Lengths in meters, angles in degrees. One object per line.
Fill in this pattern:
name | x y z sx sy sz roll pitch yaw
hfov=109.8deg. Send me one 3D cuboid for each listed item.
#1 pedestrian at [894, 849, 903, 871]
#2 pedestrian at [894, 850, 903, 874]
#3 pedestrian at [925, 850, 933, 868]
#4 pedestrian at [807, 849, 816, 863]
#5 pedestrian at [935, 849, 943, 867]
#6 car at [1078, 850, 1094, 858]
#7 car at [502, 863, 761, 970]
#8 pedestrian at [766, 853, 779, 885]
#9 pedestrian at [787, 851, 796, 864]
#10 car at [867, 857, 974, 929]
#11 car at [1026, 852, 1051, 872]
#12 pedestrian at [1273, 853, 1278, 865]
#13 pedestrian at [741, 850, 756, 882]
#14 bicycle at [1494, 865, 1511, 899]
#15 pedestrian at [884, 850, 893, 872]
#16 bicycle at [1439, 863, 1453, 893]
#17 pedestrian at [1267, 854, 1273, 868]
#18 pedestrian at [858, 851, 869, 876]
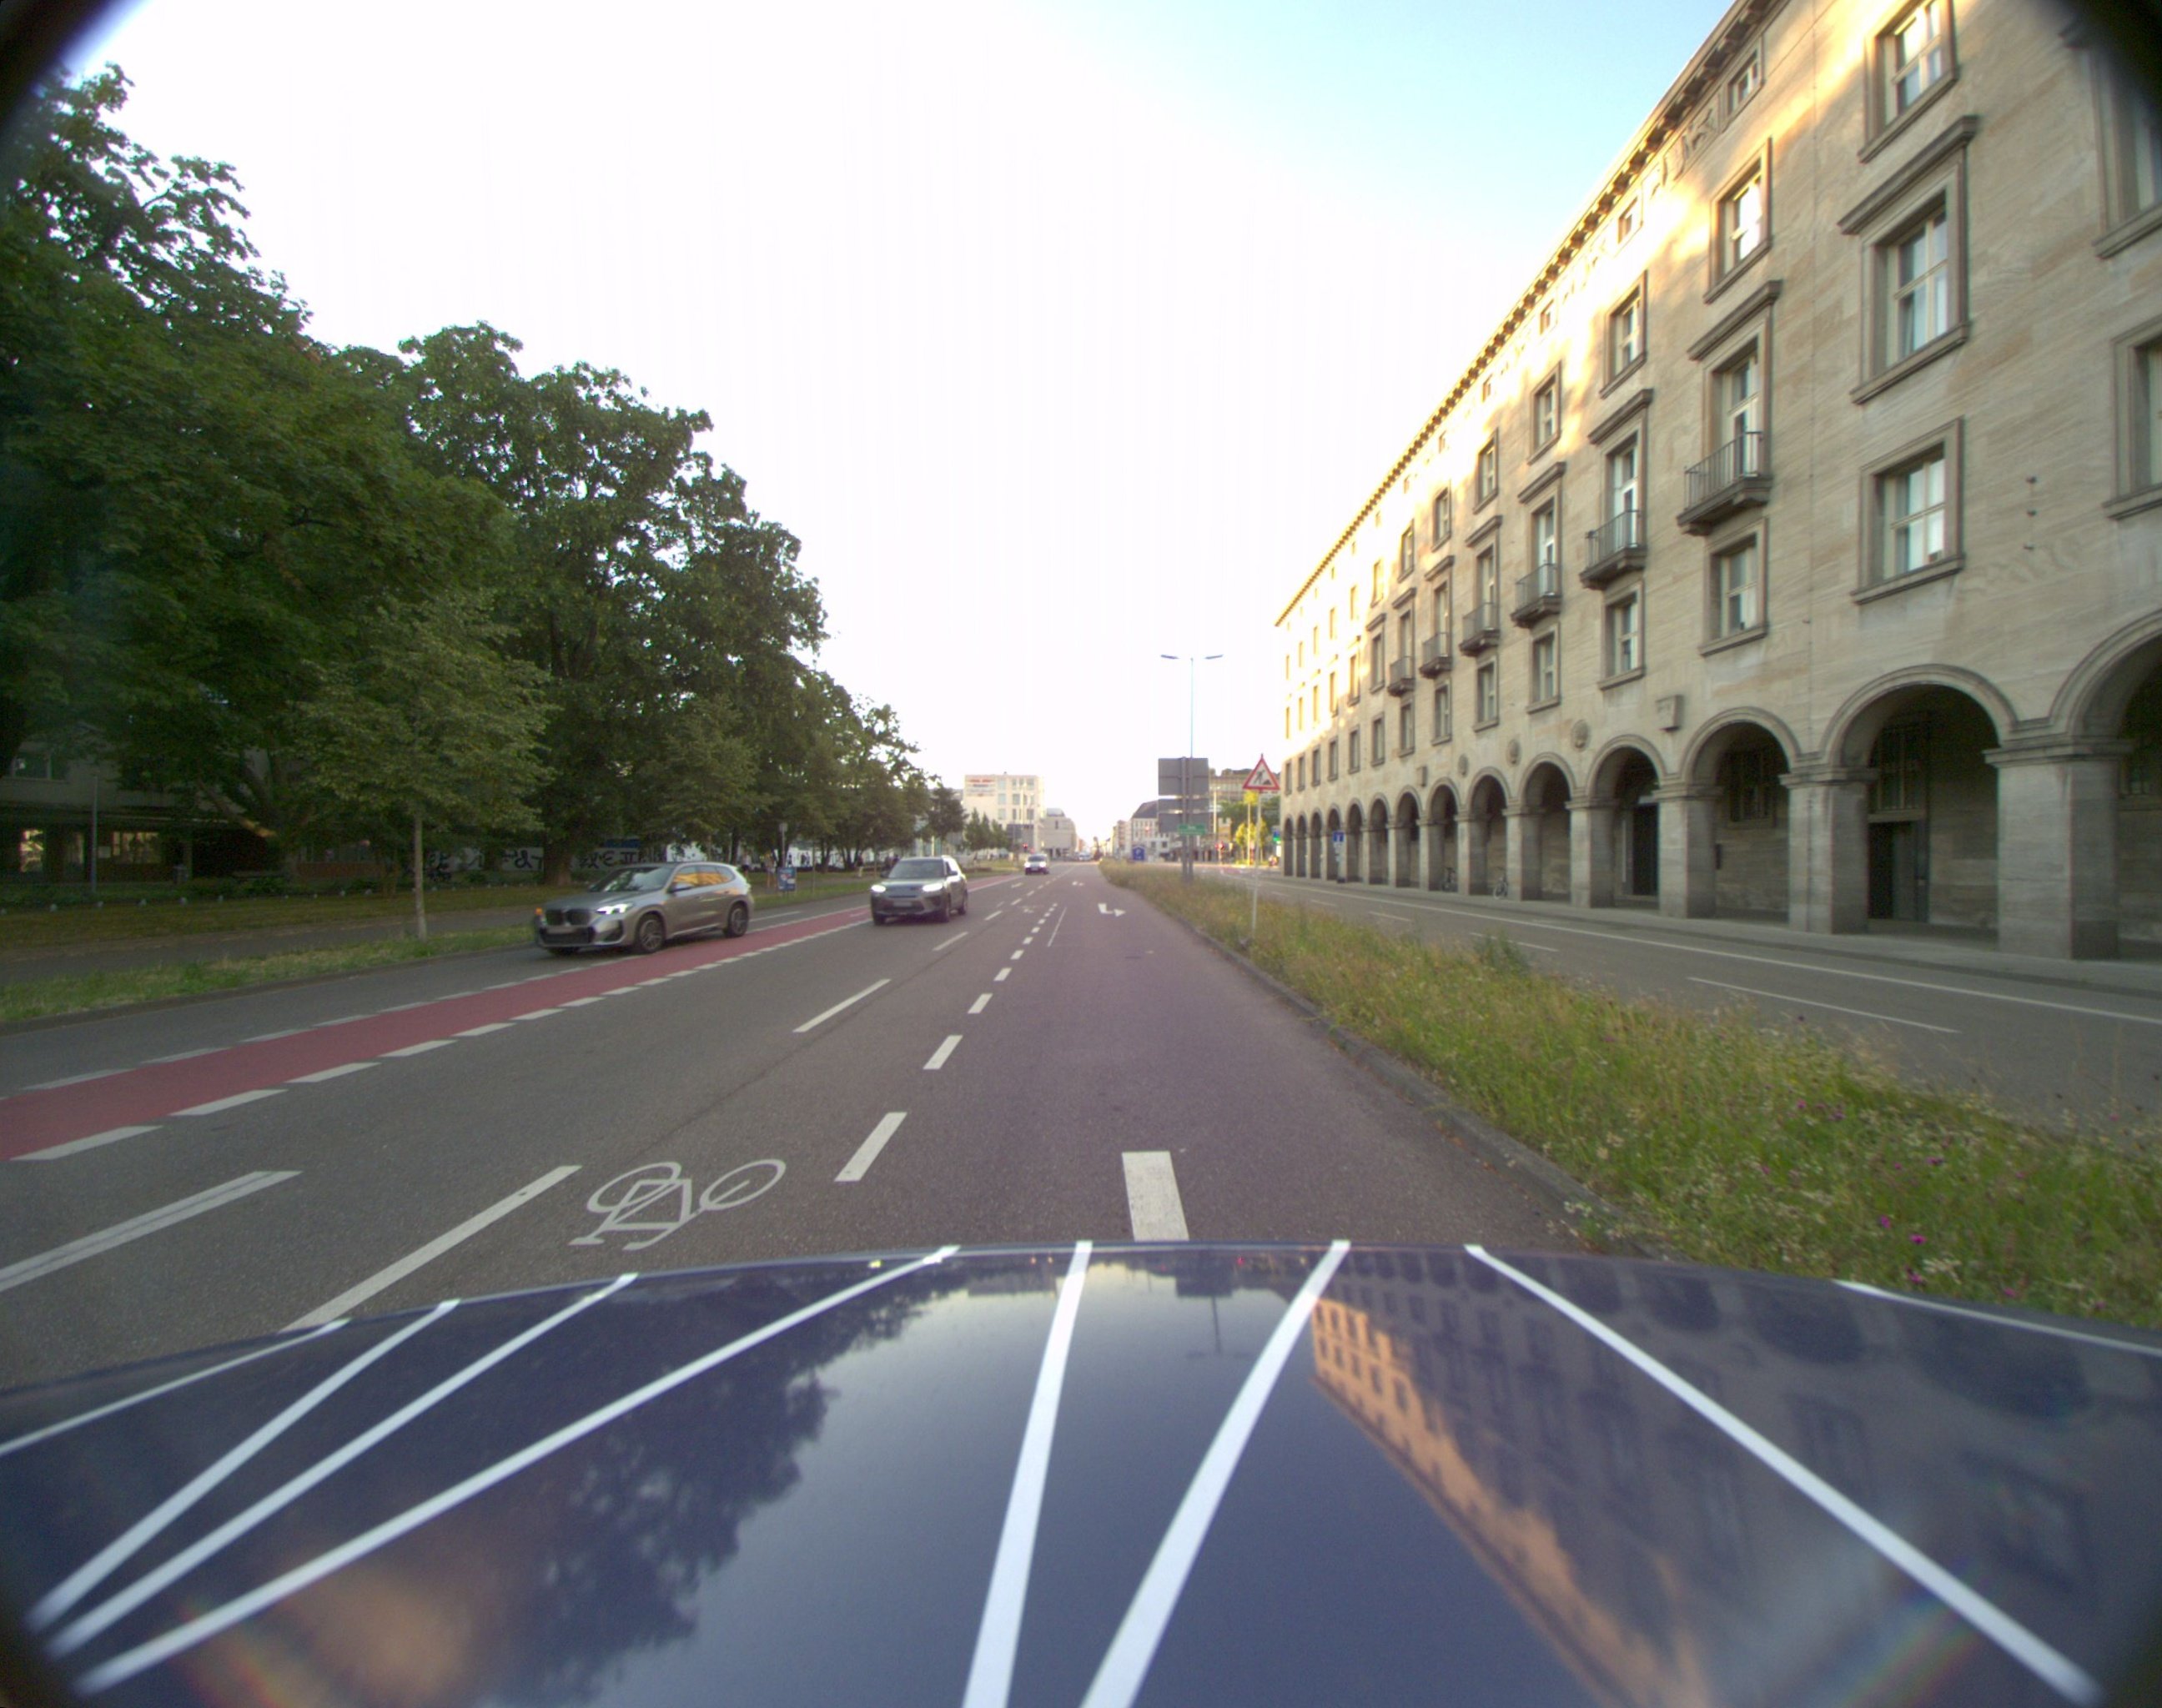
pedestrian | -14.493 0.466 60.242 0.509 1.720 0.719 0 1 1
pedestrian | -13.403 0.564 55.816 0.558 1.729 0.555 0 1 1
pedestrian | -14.711 0.441 73.464 0.638 1.747 0.506 0 1 1
pedestrian | -26.555 0.205 74.952 0.662 1.347 0.559 0 1 1
pedestrian | -13.691 0.421 73.346 0.638 1.747 0.506 0 1 1
car | 1.430 -0.112 217.971 1.994 2.297 5.100 0 0 34
car | -8.193 1.045 14.429 1.825 1.612 4.339 -2 0 9
pedestrian | -15.376 0.724 37.924 0.500 1.592 0.365 0 1 1
pedestrian | -28.433 0.344 74.614 0.631 1.347 0.681 0 1 1
car | -3.982 0.904 19.567 1.782 1.617 4.215 -1 0 1
car | -3.602 0.649 64.522 1.782 1.676 4.215 0 0 1
pedestrian | 23.917 0.586 93.246 0.526 1.532 0.390 0 1 1
pedestrian | -16.545 0.587 37.807 0.500 1.592 0.522 0 1 1
bicycle | 15.489 1.018 27.900 0.513 1.115 2.427 0 1 30
pedestrian | -15.282 0.527 60.385 0.519 1.720 0.719 0 1 1
bicycle | 15.443 1.005 32.158 0.513 1.172 2.427 0 0 25
pedestrian | 23.209 0.818 93.222 0.638 1.747 0.506 0 1 1
pedestrian | -15.103 0.640 52.820 0.509 1.720 0.719 0 1 1
